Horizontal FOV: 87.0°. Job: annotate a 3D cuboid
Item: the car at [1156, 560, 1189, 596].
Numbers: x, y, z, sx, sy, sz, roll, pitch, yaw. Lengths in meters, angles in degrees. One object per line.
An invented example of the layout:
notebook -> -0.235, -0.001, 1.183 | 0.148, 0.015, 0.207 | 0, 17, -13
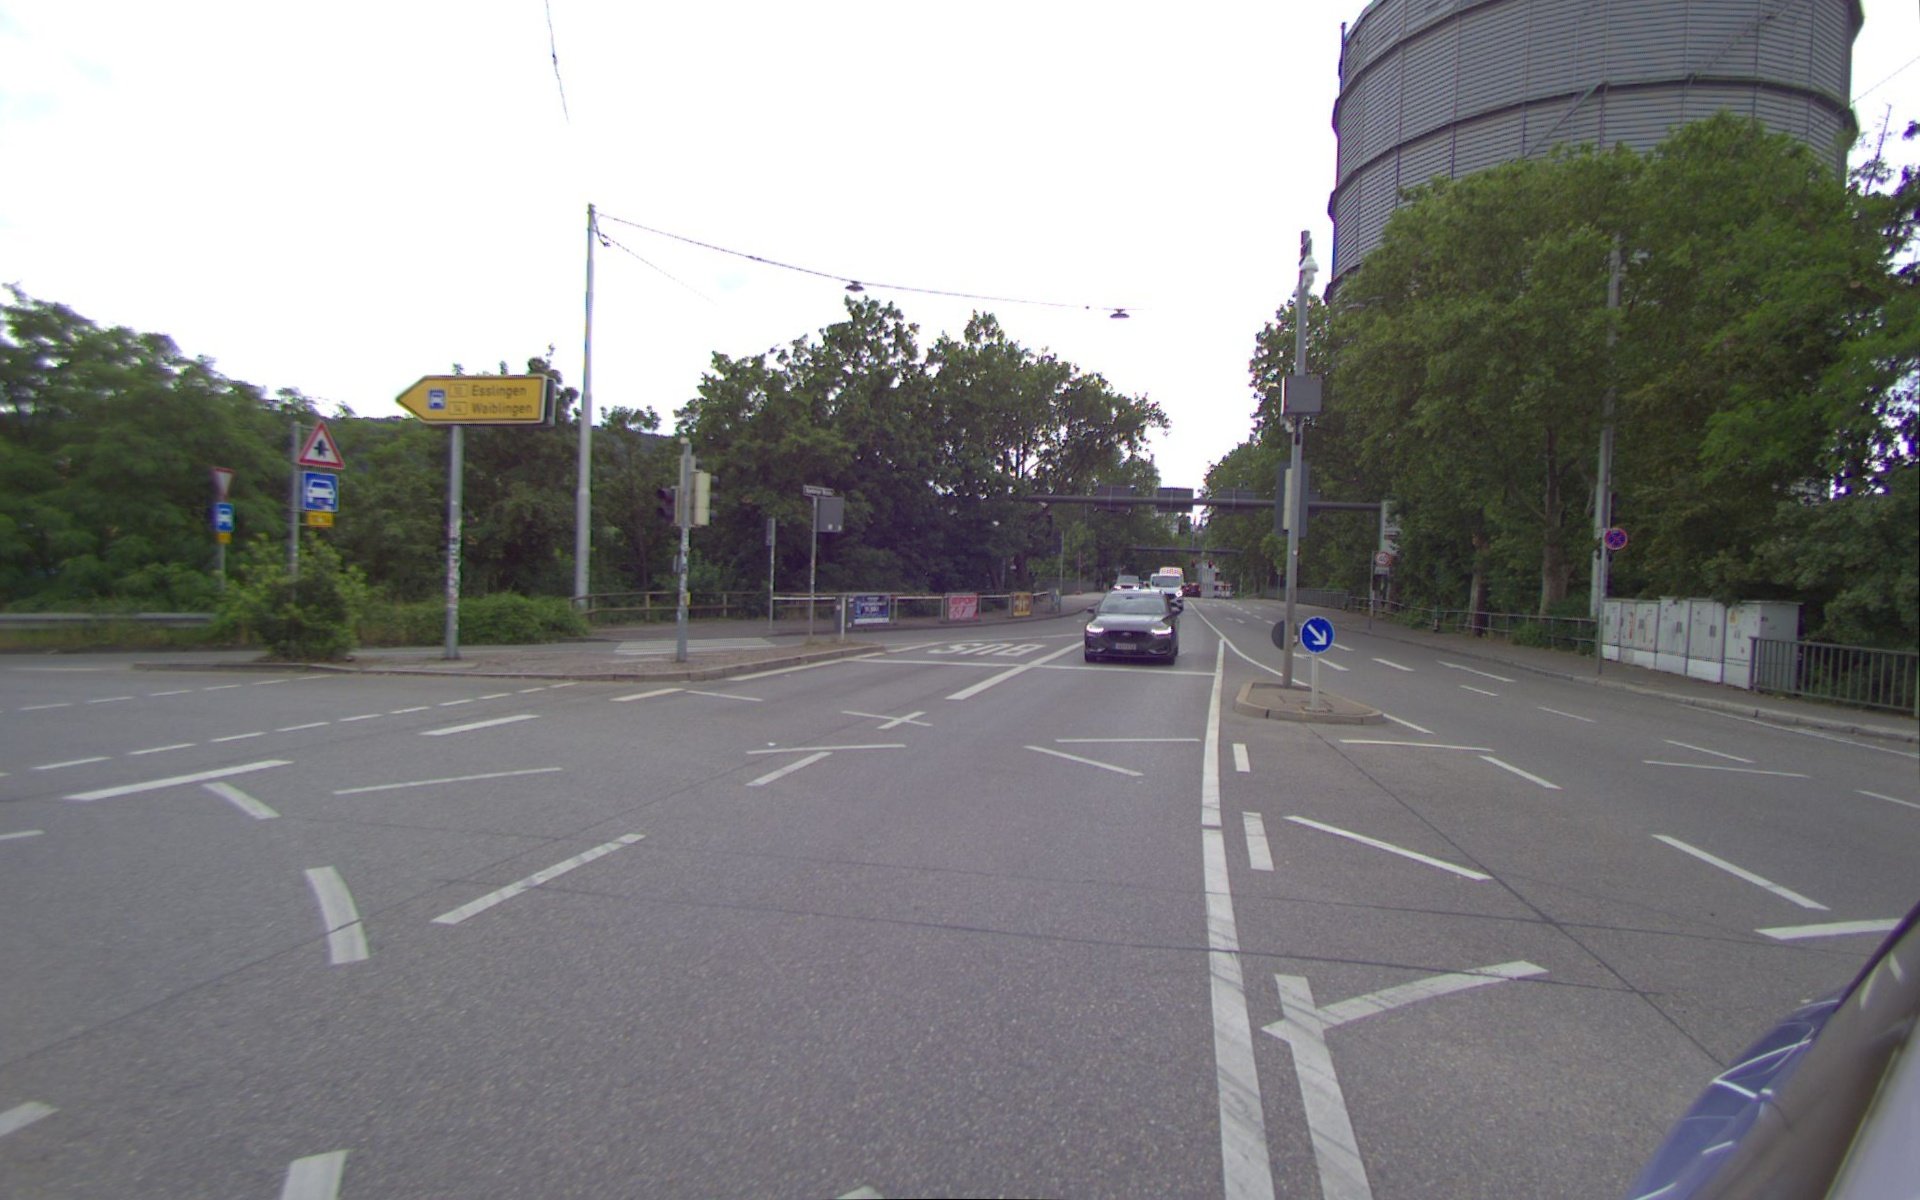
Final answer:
car -> 16.388, -1.718, 78.139 | 2.297, 2.555, 4.932 | 4, 2, 12

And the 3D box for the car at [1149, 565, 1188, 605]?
car -> 11.593, -0.835, 56.397 | 1.905, 2.024, 4.437 | 3, 1, 11

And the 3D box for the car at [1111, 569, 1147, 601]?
car -> 12.159, -1.119, 72.560 | 2.297, 1.939, 4.934 | 3, 4, 12

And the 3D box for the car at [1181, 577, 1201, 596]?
car -> 26.451, -1.513, 115.778 | 1.971, 2.038, 3.983 | 1, 2, 15

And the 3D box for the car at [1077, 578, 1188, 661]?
car -> 3.729, 0.308, 21.248 | 1.907, 1.437, 4.434 | 1, 2, 15
